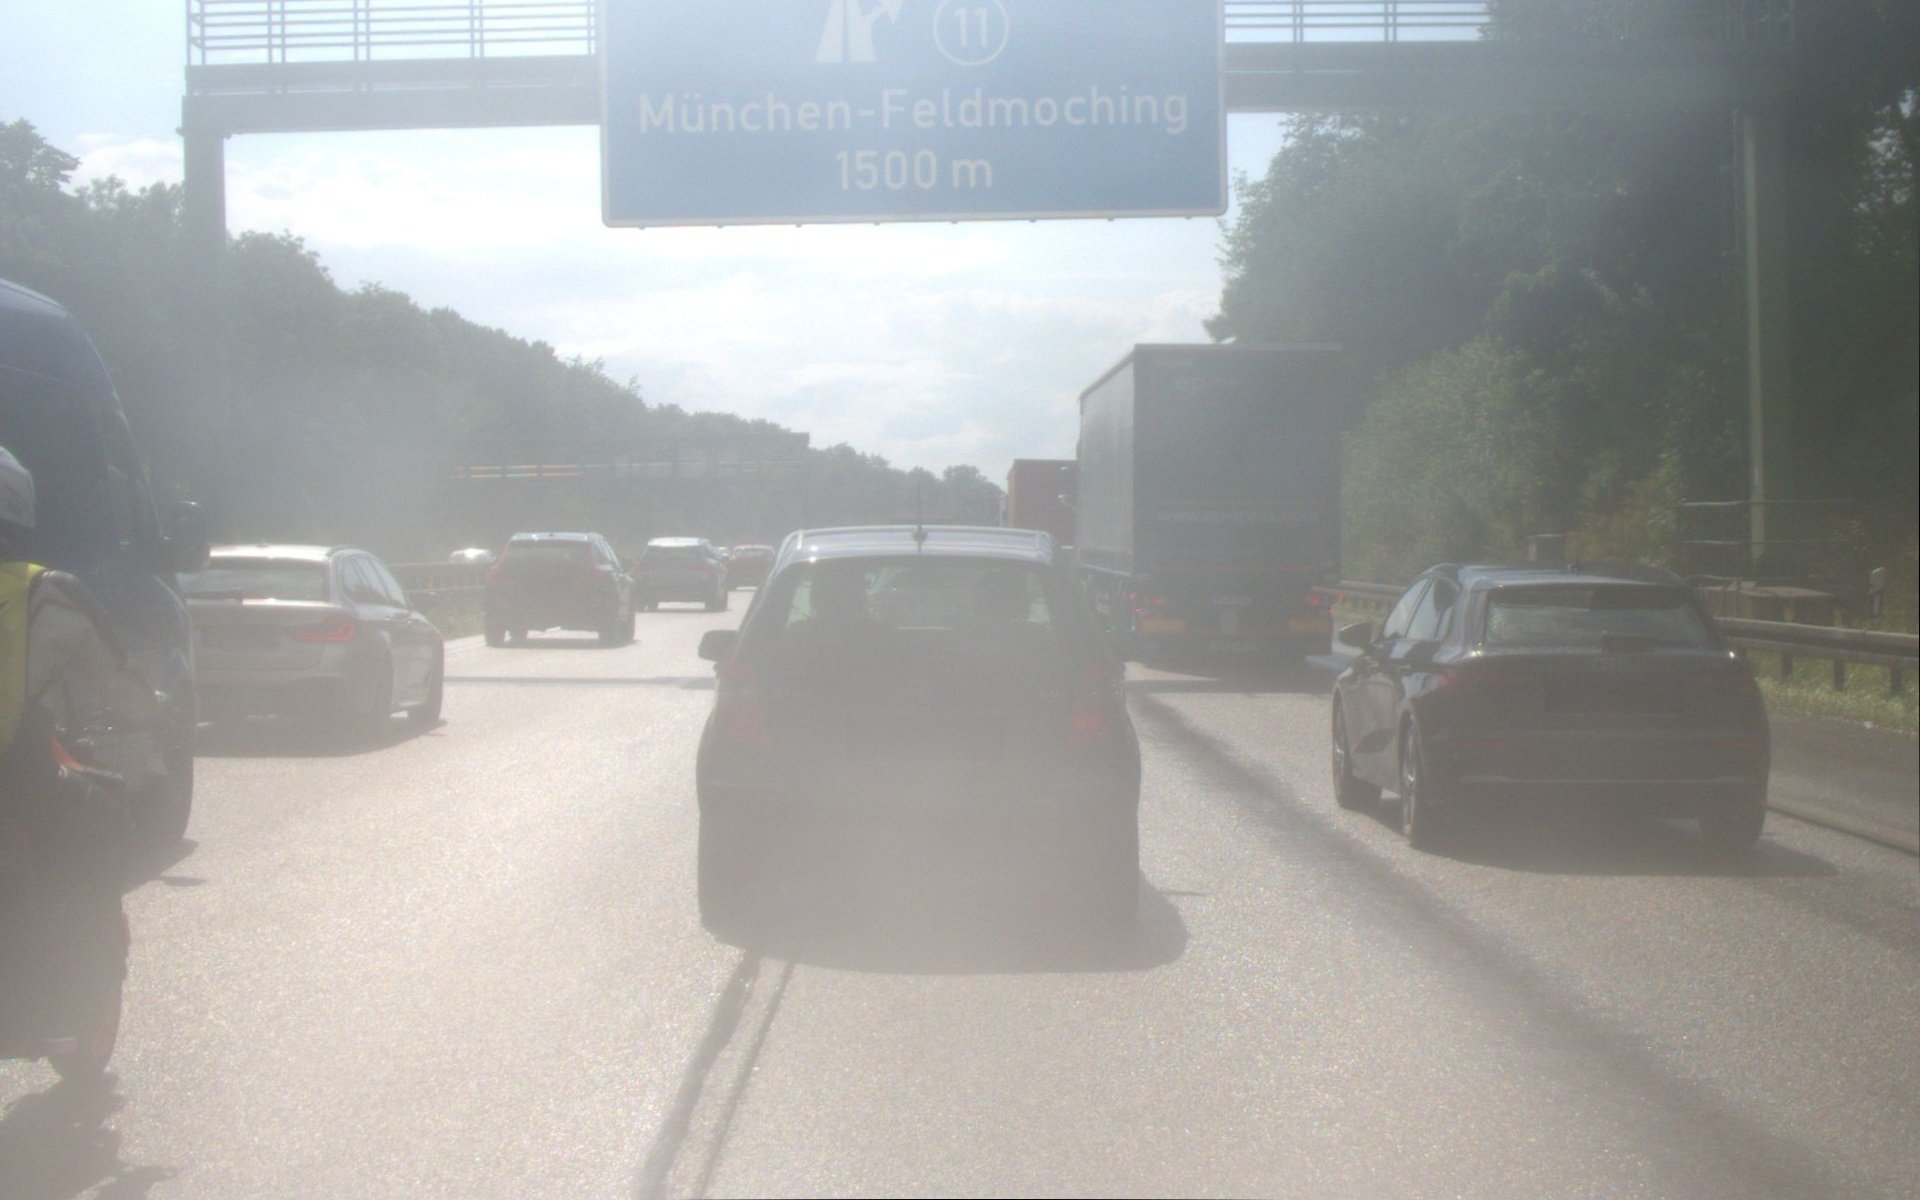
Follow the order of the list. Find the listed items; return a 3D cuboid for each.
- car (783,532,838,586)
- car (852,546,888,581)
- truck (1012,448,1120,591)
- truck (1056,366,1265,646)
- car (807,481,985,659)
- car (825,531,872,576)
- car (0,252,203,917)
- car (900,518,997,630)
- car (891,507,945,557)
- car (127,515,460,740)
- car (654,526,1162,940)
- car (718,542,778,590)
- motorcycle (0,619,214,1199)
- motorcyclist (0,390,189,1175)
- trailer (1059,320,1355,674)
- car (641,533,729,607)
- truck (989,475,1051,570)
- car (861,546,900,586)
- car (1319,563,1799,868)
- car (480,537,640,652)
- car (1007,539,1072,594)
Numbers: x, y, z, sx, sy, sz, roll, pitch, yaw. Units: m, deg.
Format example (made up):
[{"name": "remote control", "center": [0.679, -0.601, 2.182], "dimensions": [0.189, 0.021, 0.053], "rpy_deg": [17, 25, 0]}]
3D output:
[{"name": "car", "center": [-5.773, -1.584, 133.135], "dimensions": [1.993, 2.007, 4.000], "rpy_deg": [1, 1, 0]}, {"name": "car", "center": [-5.229, -2.122, 199.407], "dimensions": [1.993, 2.007, 4.000], "rpy_deg": [1, 1, 0]}, {"name": "truck", "center": [3.352, -2.560, 111.090], "dimensions": [3.202, 4.389, 9.432], "rpy_deg": [0, 1, 0]}, {"name": "truck", "center": [3.198, -1.506, 56.333], "dimensions": [3.052, 4.310, 5.886], "rpy_deg": [1, 1, 0]}, {"name": "car", "center": [-0.751, -0.366, 41.113], "dimensions": [1.993, 2.007, 4.000], "rpy_deg": [1, 1, -1]}, {"name": "car", "center": [-5.068, -2.108, 156.592], "dimensions": [1.993, 2.007, 4.000], "rpy_deg": [1, 1, 0]}, {"name": "car", "center": [-4.825, -0.081, 14.509], "dimensions": [2.015, 2.639, 5.777], "rpy_deg": [0, 1, 0]}, {"name": "car", "center": [-0.216, -0.486, 61.627], "dimensions": [1.675, 1.929, 3.773], "rpy_deg": [0, 1, 0]}, {"name": "car", "center": [-1.274, -2.068, 105.002], "dimensions": [1.632, 1.485, 3.437], "rpy_deg": [0, 1, 0]}, {"name": "car", "center": [-5.034, 0.153, 26.523], "dimensions": [1.758, 1.589, 4.331], "rpy_deg": [0, 1, 0]}, {"name": "car", "center": [-0.212, 0.468, 15.196], "dimensions": [1.915, 1.560, 4.314], "rpy_deg": [0, 1, 0]}, {"name": "car", "center": [-6.636, -1.075, 107.660], "dimensions": [1.675, 1.485, 3.437], "rpy_deg": [0, 1, 0]}, {"name": "motorcycle", "center": [-2.429, 0.705, 8.474], "dimensions": [0.819, 1.258, 2.118], "rpy_deg": [1, 1, -3]}, {"name": "motorcyclist", "center": [-2.417, 0.398, 8.367], "dimensions": [0.821, 1.754, 1.390], "rpy_deg": [1, 1, -3]}, {"name": "trailer", "center": [3.220, -1.372, 49.057], "dimensions": [3.088, 4.298, 14.106], "rpy_deg": [0, 1, 0]}, {"name": "car", "center": [-6.052, -0.677, 75.836], "dimensions": [1.675, 1.591, 3.437], "rpy_deg": [0, 1, 0]}, {"name": "truck", "center": [2.983, -3.887, 175.425], "dimensions": [2.882, 4.671, 12.659], "rpy_deg": [1, 1, 0]}, {"name": "car", "center": [-4.140, -1.780, 179.552], "dimensions": [1.993, 2.007, 4.000], "rpy_deg": [1, 1, 0]}, {"name": "car", "center": [3.035, 0.520, 18.295], "dimensions": [1.755, 1.391, 4.368], "rpy_deg": [0, 1, 0]}, {"name": "car", "center": [-5.856, -0.113, 50.736], "dimensions": [1.893, 1.622, 4.195], "rpy_deg": [0, 1, 0]}, {"name": "car", "center": [2.190, -0.941, 95.236], "dimensions": [1.675, 1.485, 3.437], "rpy_deg": [0, 1, 0]}]
